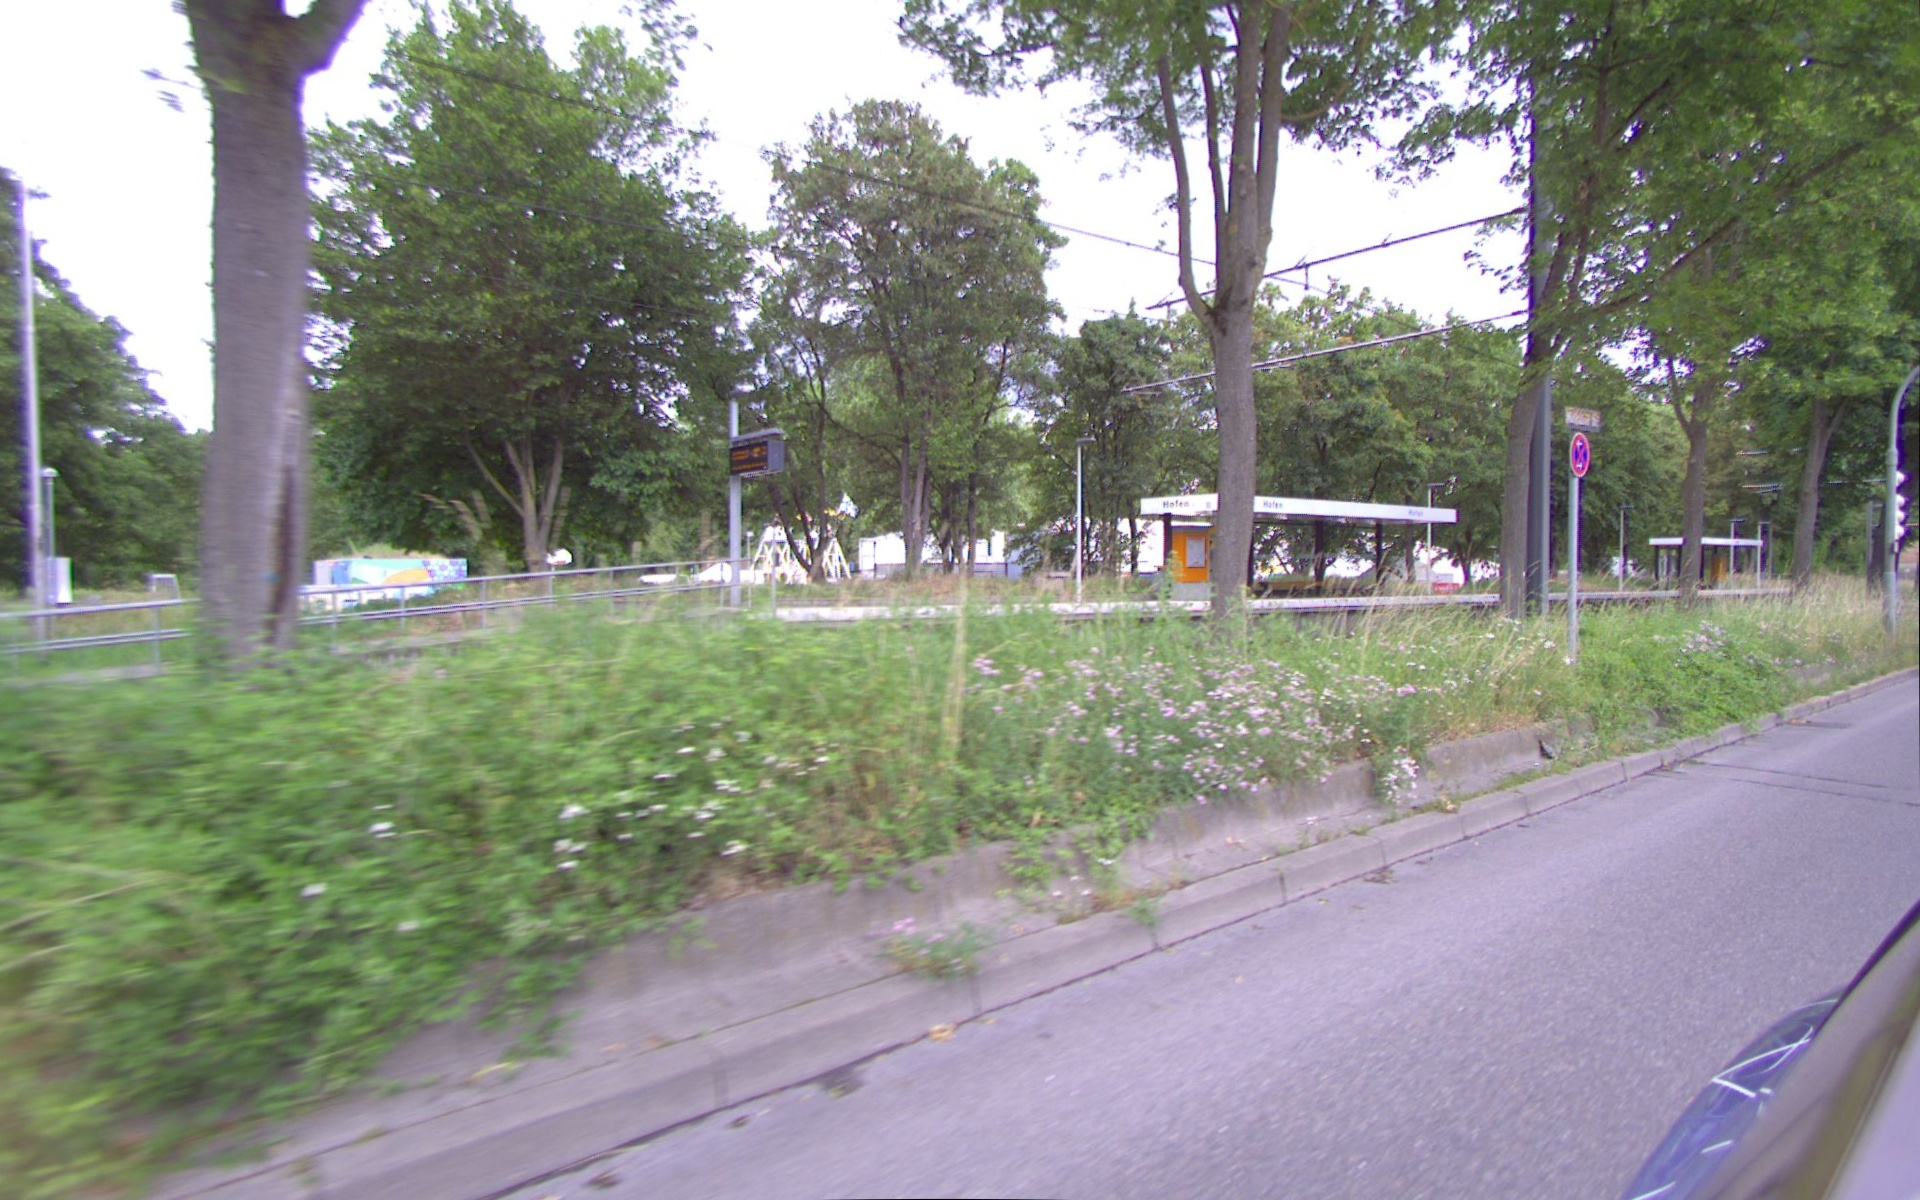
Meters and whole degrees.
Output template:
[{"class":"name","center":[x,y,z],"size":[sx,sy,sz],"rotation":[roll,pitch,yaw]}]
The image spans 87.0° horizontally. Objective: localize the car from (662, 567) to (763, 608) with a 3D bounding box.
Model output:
[{"class":"car","center":[-15.060,-0.754,61.787],"size":[5.702,2.413,1.998],"rotation":[-1,1,-39]}]
